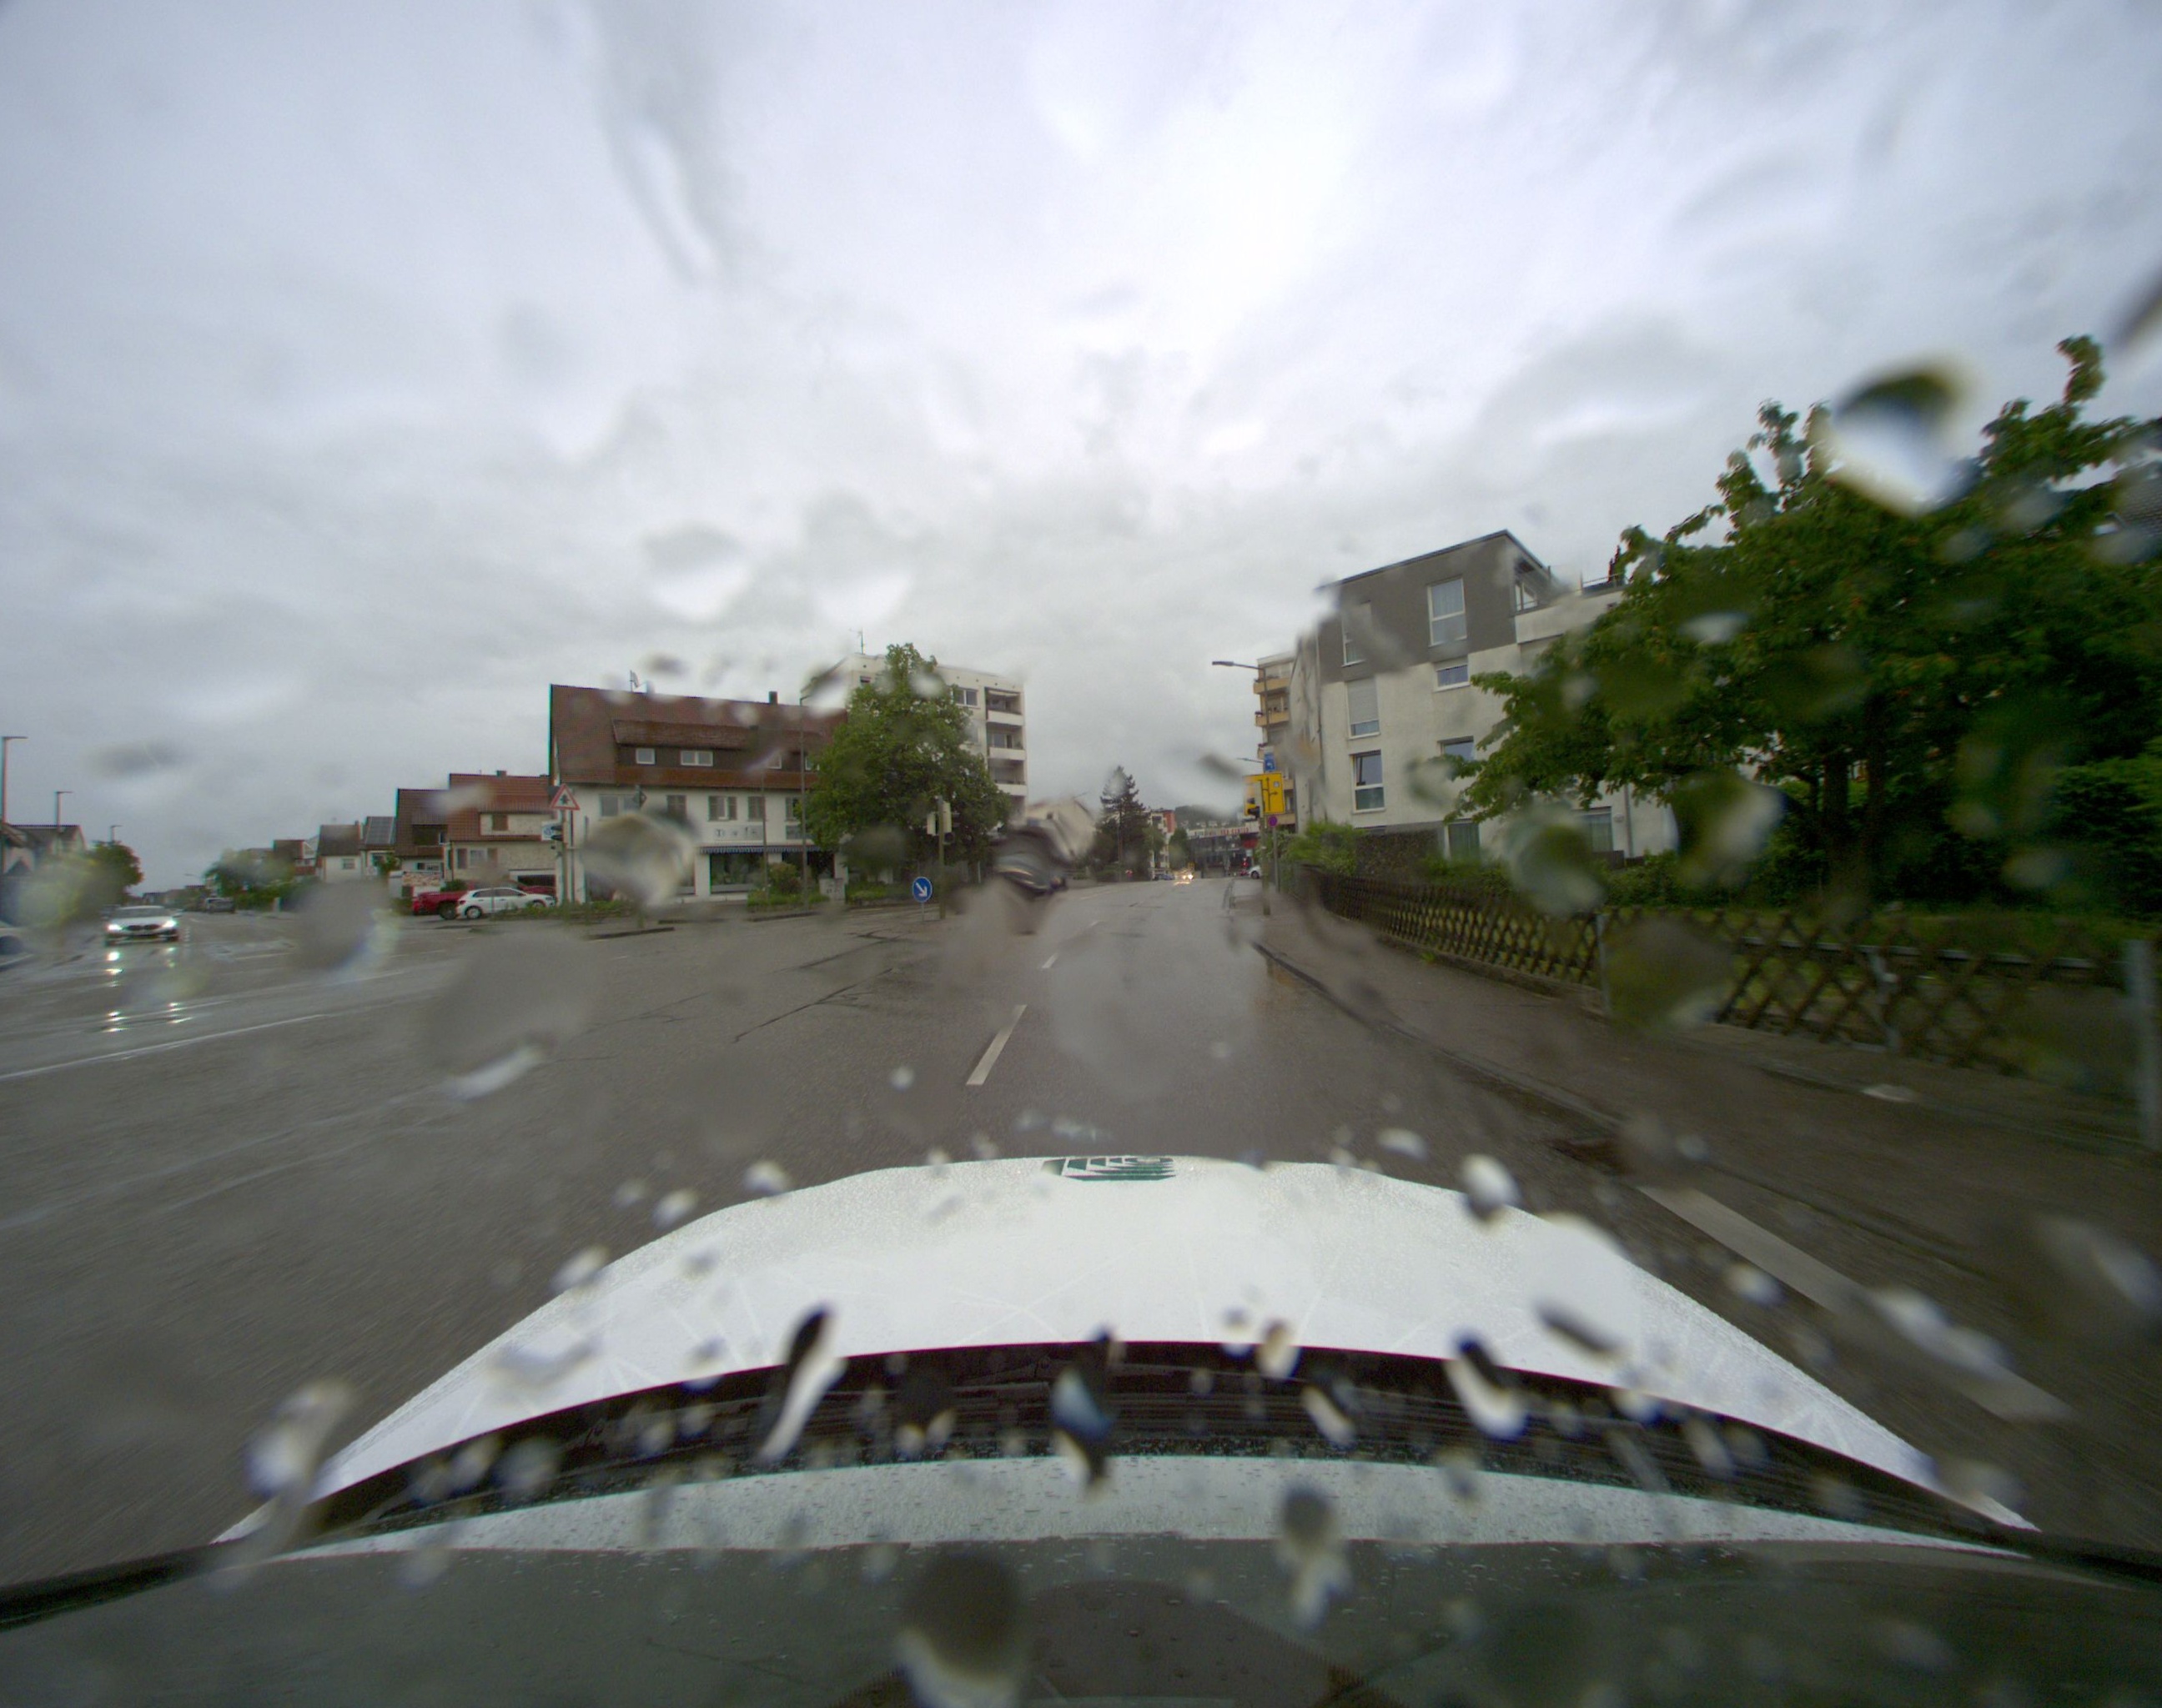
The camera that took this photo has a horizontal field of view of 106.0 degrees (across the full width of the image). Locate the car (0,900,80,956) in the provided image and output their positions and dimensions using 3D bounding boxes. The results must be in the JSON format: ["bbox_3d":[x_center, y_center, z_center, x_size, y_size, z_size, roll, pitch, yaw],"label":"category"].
[{"bbox_3d":[-36.589,2.538,26.977,3.936,1.733,1.814,-2,-1,-36],"label":"car"}]

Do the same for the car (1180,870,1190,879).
[{"bbox_3d":[20.251,4.025,158.639,1.687,1.409,4.010,-6,-1,9],"label":"car"}]

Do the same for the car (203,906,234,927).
[{"bbox_3d":[-94.212,6.812,88.958,2.011,2.013,3.951,-2,-1,-43],"label":"car"}]

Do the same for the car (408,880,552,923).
[{"bbox_3d":[-31.186,2.428,42.430,5.882,1.842,1.977,-2,-1,-39],"label":"car"}]

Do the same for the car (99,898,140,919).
[{"bbox_3d":[-100.349,5.631,85.056,2.010,2.014,3.954,-2,-1,-38],"label":"car"}]

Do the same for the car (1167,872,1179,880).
[{"bbox_3d":[18.057,4.243,160.351,1.681,1.464,4.701,-3,-2,14],"label":"car"}]

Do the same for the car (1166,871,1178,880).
[{"bbox_3d":[17.231,4.061,154.661,1.640,1.521,4.340,-3,-2,14],"label":"car"}]

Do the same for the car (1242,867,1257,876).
[{"bbox_3d":[32.222,3.404,155.673,1.976,1.534,4.672,-3,-3,23],"label":"car"}]

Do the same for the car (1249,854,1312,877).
[{"bbox_3d":[15.238,0.884,62.280,4.216,1.494,1.885,-3,0,39],"label":"car"}]

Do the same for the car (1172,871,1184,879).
[{"bbox_3d":[19.729,4.183,165.592,1.921,1.542,4.537,-3,-2,14],"label":"car"}]

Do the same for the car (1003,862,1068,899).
[{"bbox_3d":[-2.122,1.221,39.155,1.789,1.557,4.336,-3,-1,15],"label":"car"}]

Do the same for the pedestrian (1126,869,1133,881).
[{"bbox_3d":[6.570,2.880,110.910,0.865,1.607,1.104,-3,-3,4],"label":"pedestrian"}]

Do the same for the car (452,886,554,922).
[{"bbox_3d":[-28.797,2.473,40.775,4.014,1.526,1.979,-2,-1,-32],"label":"car"}]

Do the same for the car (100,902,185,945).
[{"bbox_3d":[-36.895,2.696,32.099,1.845,1.434,4.234,-2,-1,-45],"label":"car"}]
